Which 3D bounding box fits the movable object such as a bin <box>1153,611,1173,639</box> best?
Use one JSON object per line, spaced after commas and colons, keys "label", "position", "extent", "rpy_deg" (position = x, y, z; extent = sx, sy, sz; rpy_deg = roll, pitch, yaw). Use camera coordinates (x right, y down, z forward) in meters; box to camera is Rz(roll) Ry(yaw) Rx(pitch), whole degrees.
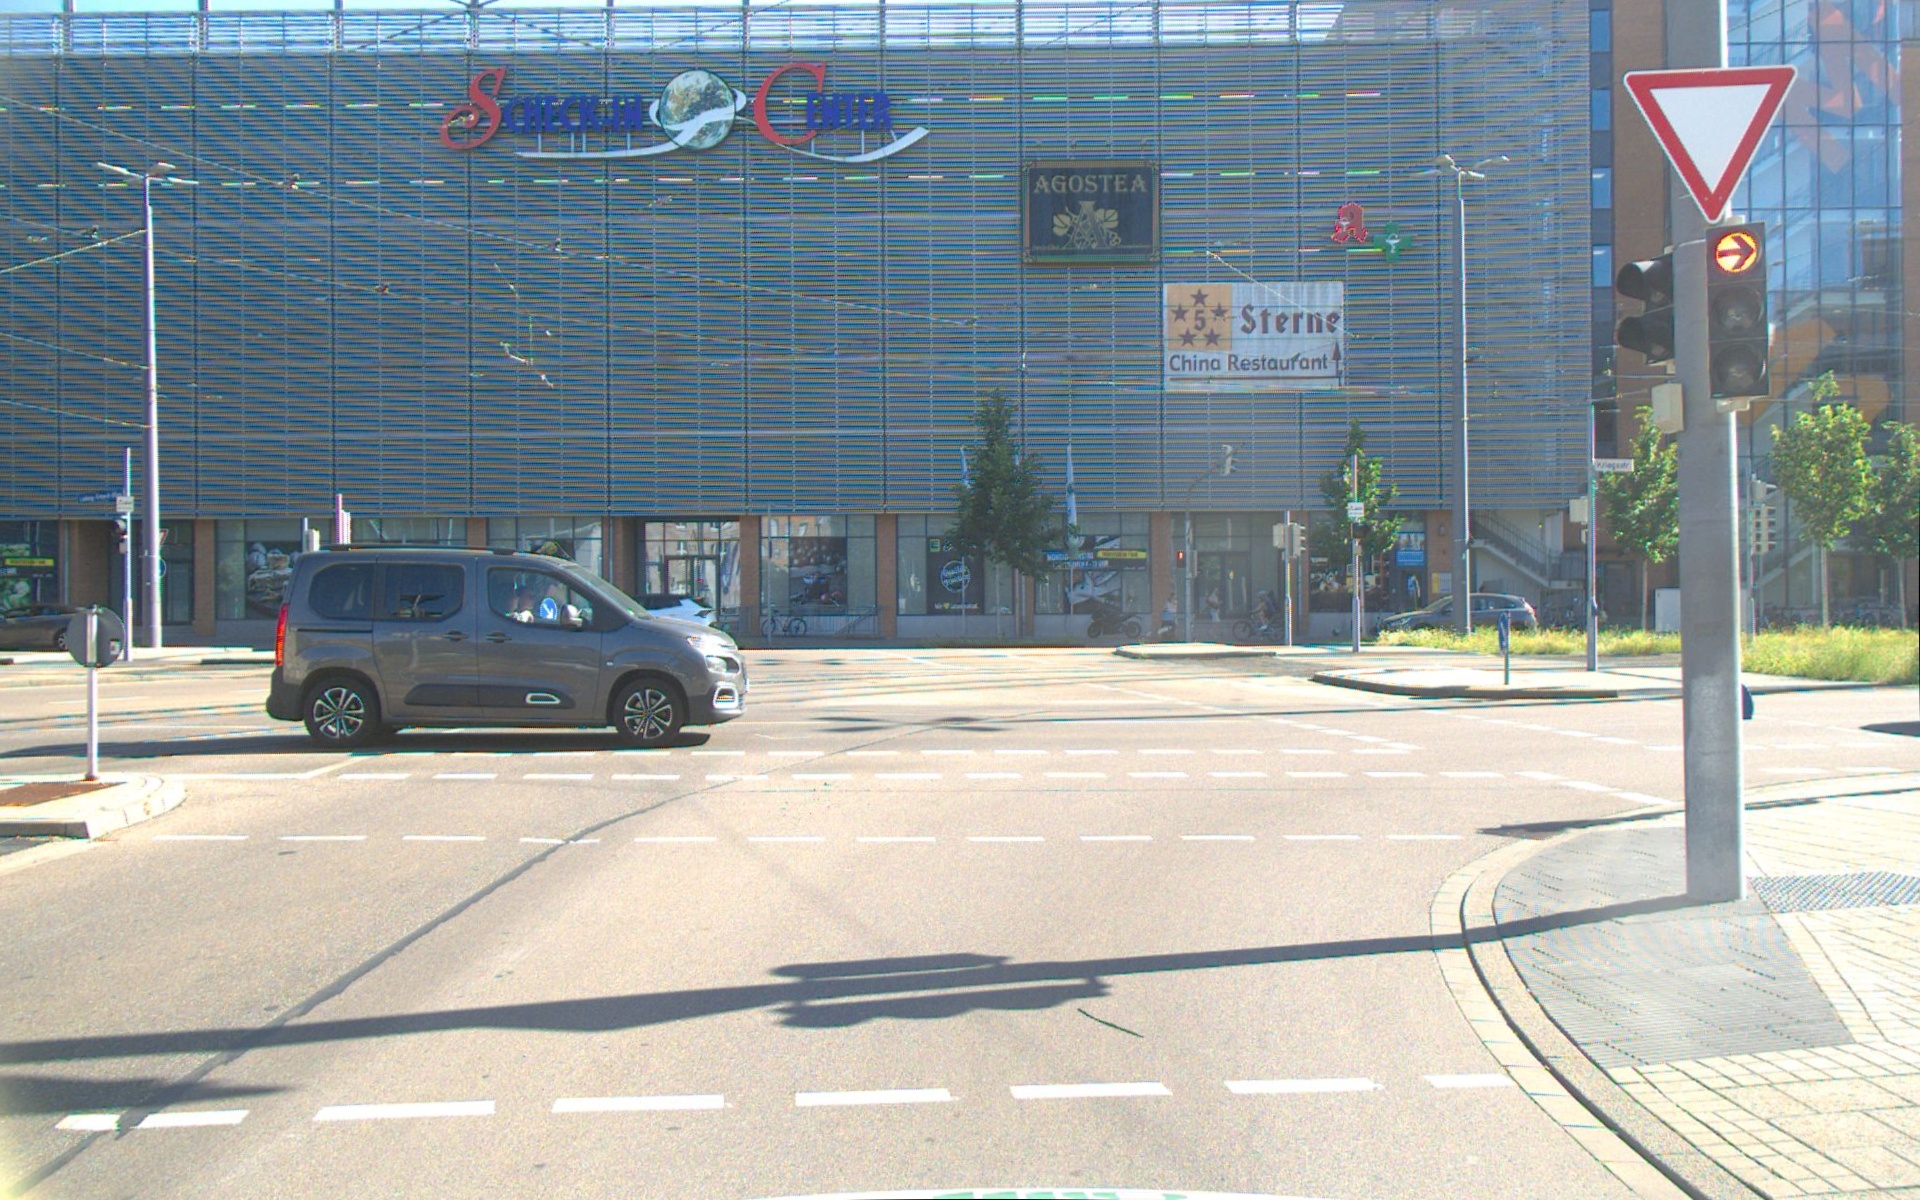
{"label": "movable object such as a bin", "position": [6.731, 0.832, 54.890], "extent": [0.599, 0.920, 0.970], "rpy_deg": [1, 0, 10]}

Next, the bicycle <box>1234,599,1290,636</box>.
{"label": "bicycle", "position": [10.571, 0.608, 57.920], "extent": [1.819, 1.238, 0.569], "rpy_deg": [-1, 1, -2]}

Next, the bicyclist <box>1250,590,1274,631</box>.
{"label": "bicyclist", "position": [10.576, 0.371, 57.918], "extent": [0.738, 1.410, 0.565], "rpy_deg": [-1, 1, -1]}

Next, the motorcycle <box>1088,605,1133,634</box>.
{"label": "motorcycle", "position": [5.519, 0.728, 60.701], "extent": [1.605, 1.022, 0.447], "rpy_deg": [1, 0, 6]}

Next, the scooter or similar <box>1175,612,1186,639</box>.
{"label": "scooter or similar", "position": [7.356, 0.834, 55.183], "extent": [0.288, 0.888, 1.004], "rpy_deg": [1, 0, 10]}

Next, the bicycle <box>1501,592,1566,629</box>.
{"label": "bicycle", "position": [21.278, 0.390, 61.346], "extent": [2.209, 1.318, 0.605], "rpy_deg": [1, -1, -2]}

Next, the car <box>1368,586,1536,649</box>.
{"label": "car", "position": [13.661, 0.496, 46.040], "extent": [4.063, 1.495, 1.840], "rpy_deg": [3, -1, -2]}

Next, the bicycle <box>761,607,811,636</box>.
{"label": "bicycle", "position": [-6.376, 0.780, 60.424], "extent": [1.783, 1.006, 0.556], "rpy_deg": [0, 1, -11]}

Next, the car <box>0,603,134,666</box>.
{"label": "car", "position": [-26.937, 1.004, 48.677], "extent": [4.203, 1.611, 1.840], "rpy_deg": [3, -1, -2]}

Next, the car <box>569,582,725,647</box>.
{"label": "car", "position": [-9.183, 0.427, 48.748], "extent": [4.238, 1.895, 1.840], "rpy_deg": [0, -1, -2]}

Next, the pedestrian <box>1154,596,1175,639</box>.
{"label": "pedestrian", "position": [6.847, 0.578, 55.357], "extent": [0.641, 1.438, 0.850], "rpy_deg": [1, 0, 10]}

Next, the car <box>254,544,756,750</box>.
{"label": "car", "position": [-4.159, 0.401, 15.738], "extent": [4.373, 1.823, 1.707], "rpy_deg": [0, 0, -7]}

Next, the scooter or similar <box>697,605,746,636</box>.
{"label": "scooter or similar", "position": [-8.757, 0.749, 60.771], "extent": [1.759, 1.085, 0.611], "rpy_deg": [0, 1, -9]}

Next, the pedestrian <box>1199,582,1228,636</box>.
{"label": "pedestrian", "position": [9.128, 0.339, 59.593], "extent": [0.930, 1.860, 0.846], "rpy_deg": [-2, -4, 5]}
